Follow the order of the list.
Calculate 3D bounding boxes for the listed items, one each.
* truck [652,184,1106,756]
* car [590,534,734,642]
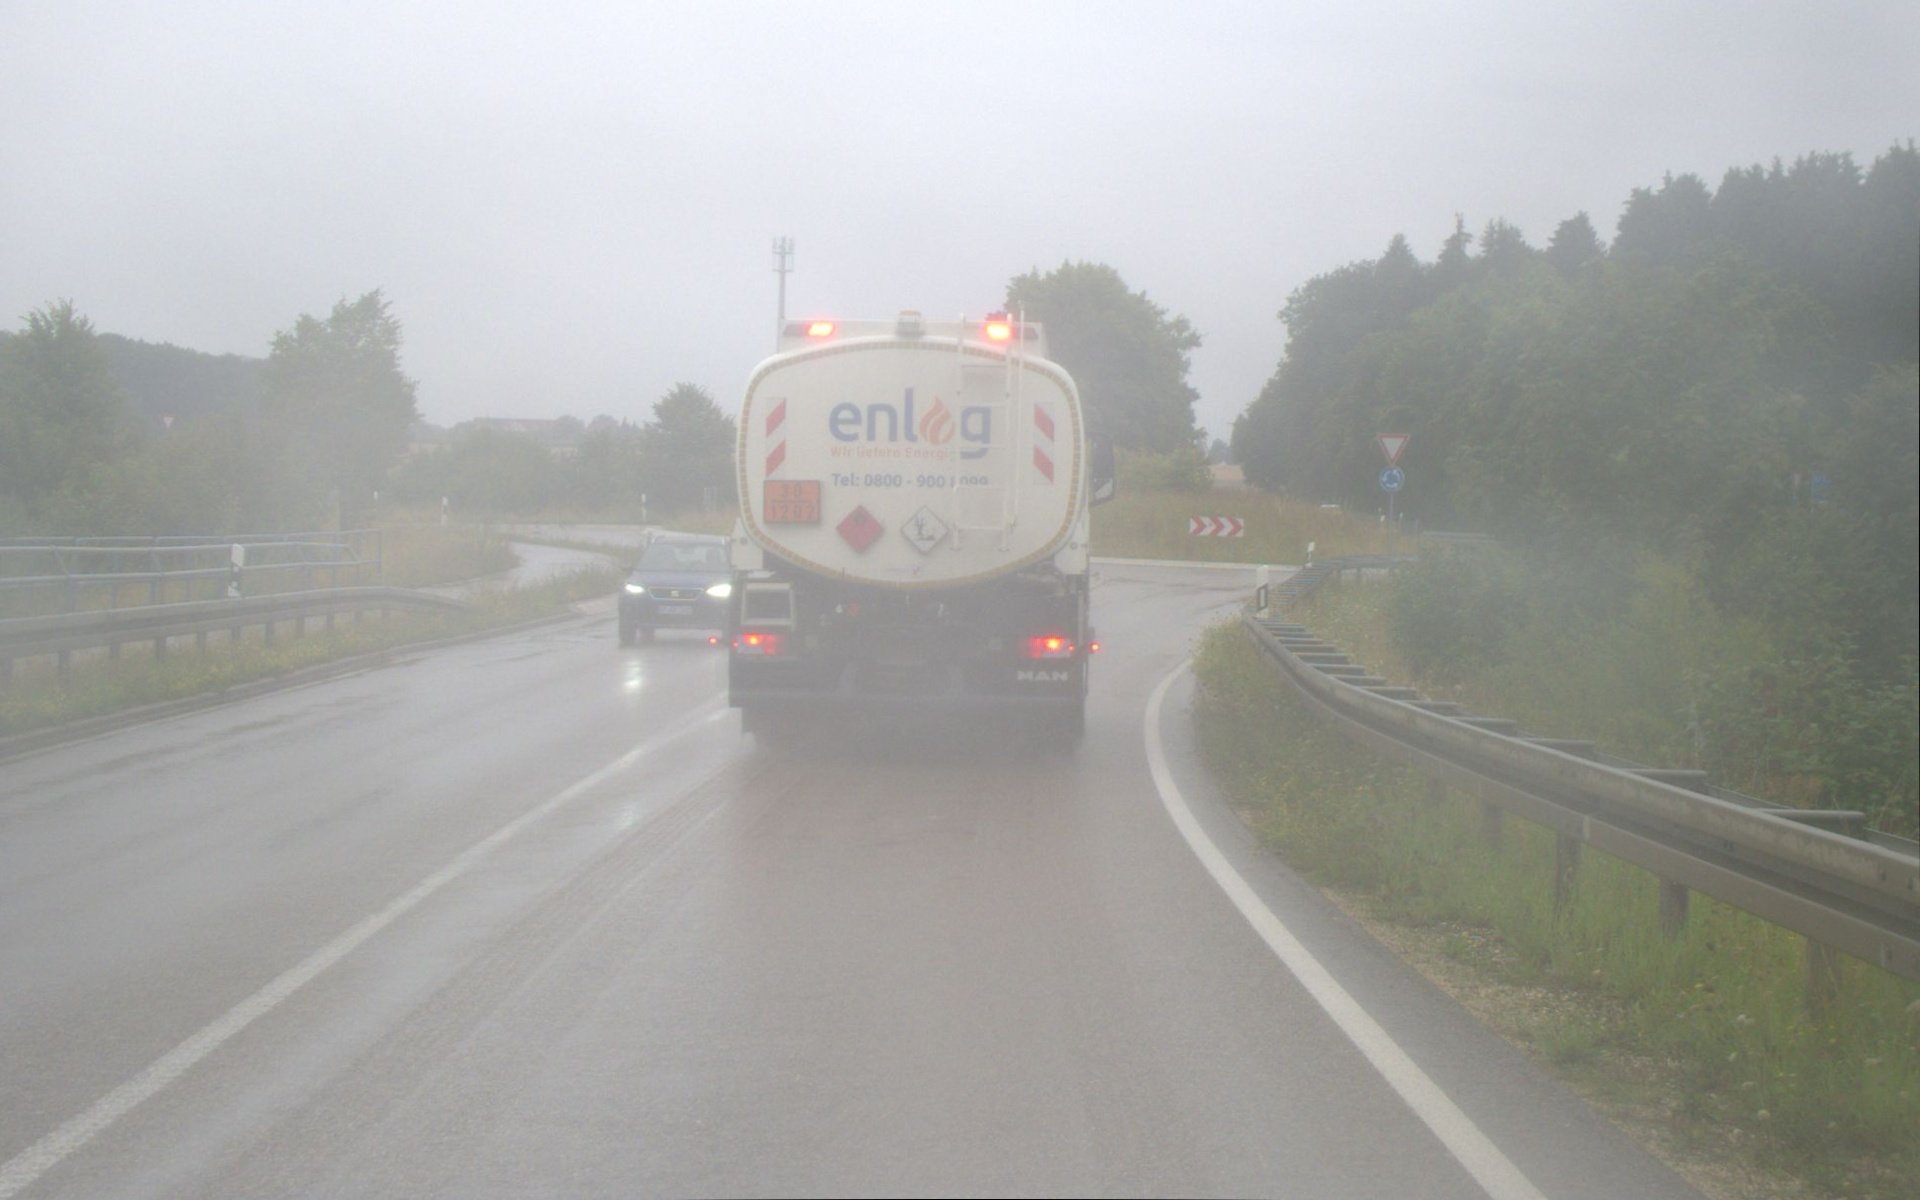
[{"bbox_3d":[-0.393,-1.011,27.689,3.039,3.838,8.822,1,2,2],"label":"truck"},{"bbox_3d":[-4.403,-0.212,51.302,1.780,1.521,4.169,1,1,0],"label":"car"}]
